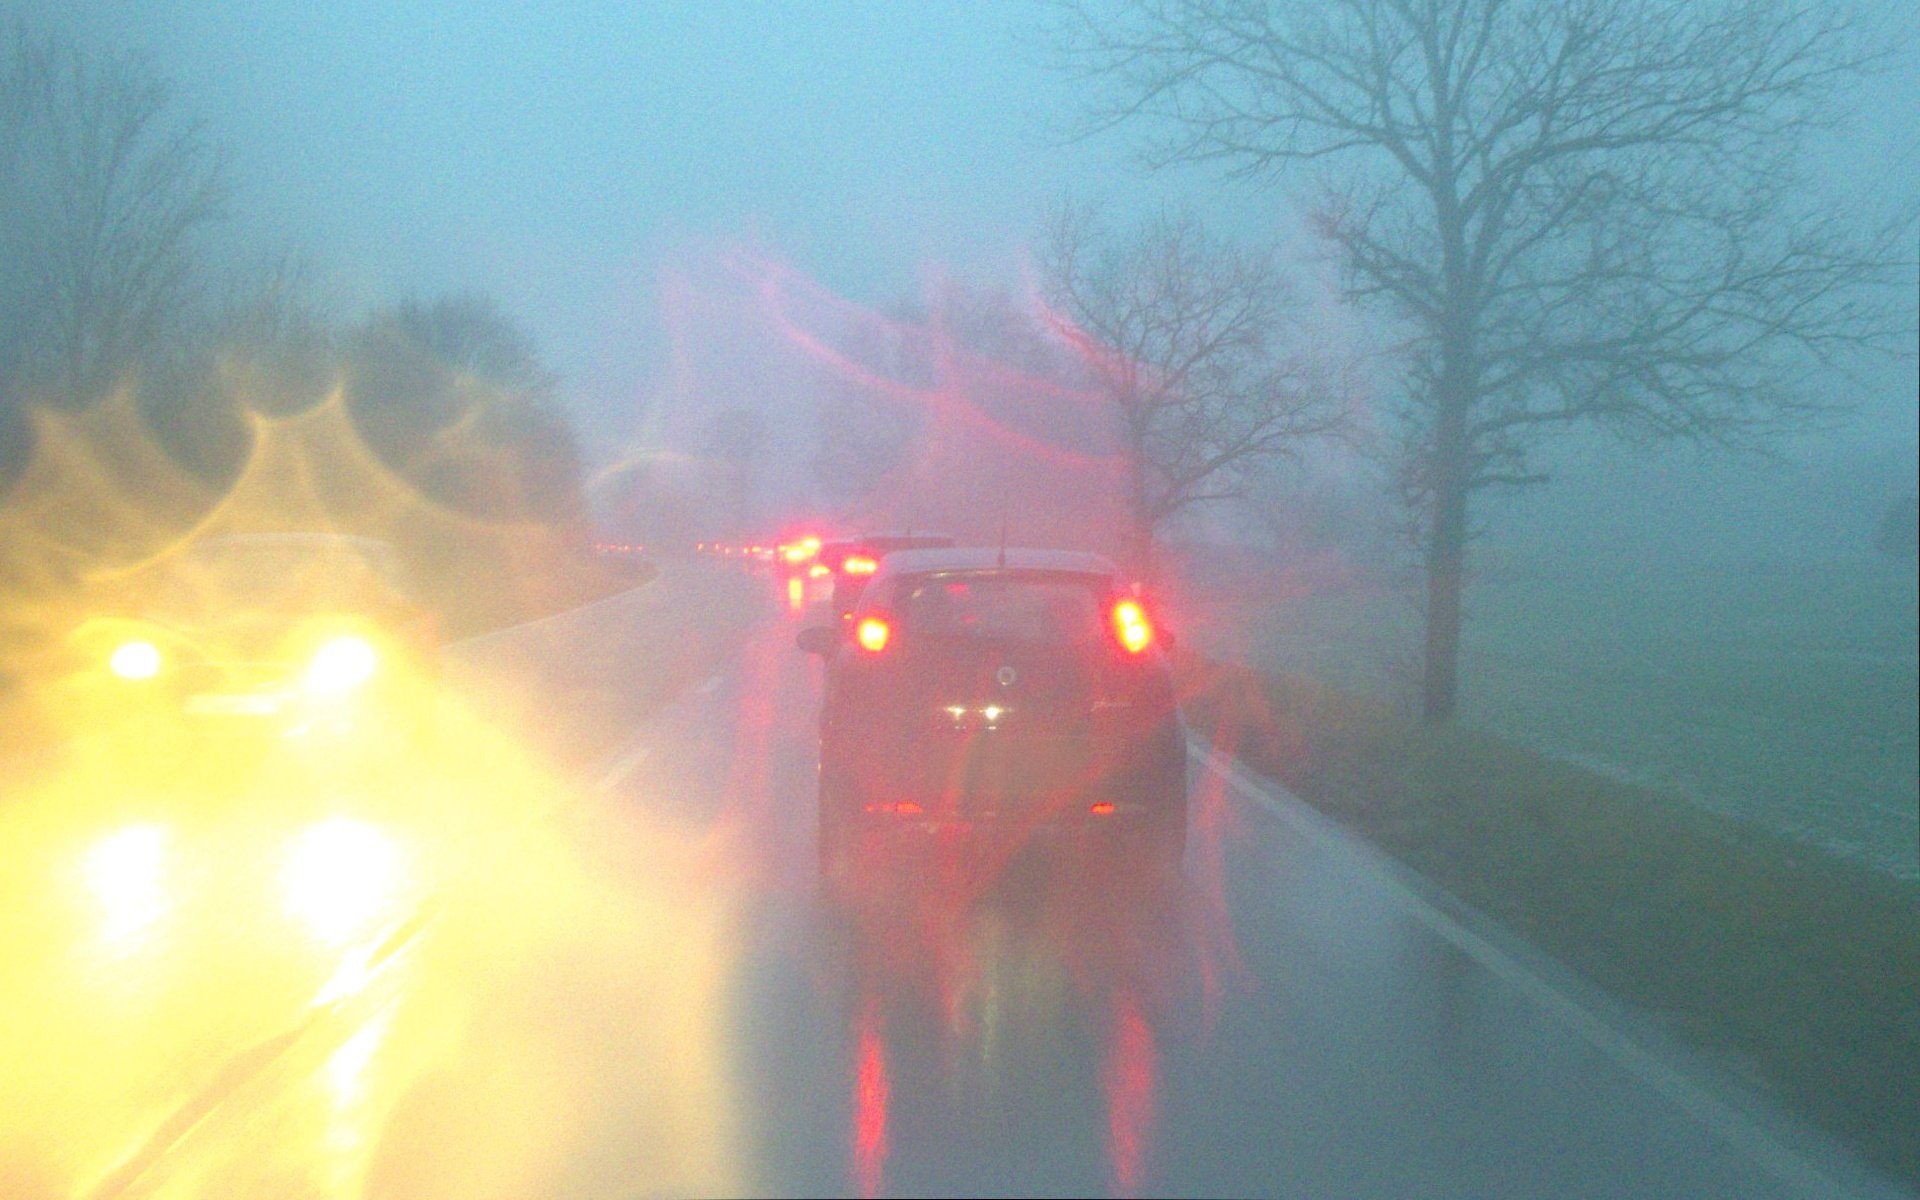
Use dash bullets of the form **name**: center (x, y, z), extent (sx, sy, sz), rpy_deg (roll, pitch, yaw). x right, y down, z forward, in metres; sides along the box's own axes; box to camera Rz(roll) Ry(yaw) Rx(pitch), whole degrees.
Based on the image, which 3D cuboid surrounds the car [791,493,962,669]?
- **car**: center (-0.970, -0.257, 41.861), extent (1.852, 2.007, 4.000), rpy_deg (1, 1, 2)

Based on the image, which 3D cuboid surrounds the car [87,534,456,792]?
- **car**: center (-4.280, 0.335, 21.872), extent (1.655, 1.481, 3.670), rpy_deg (1, 1, -1)

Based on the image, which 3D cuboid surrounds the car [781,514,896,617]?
- **car**: center (-2.075, -0.630, 59.964), extent (1.863, 1.694, 4.468), rpy_deg (1, 1, 0)

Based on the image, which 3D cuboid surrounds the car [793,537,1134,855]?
- **car**: center (0.059, 0.397, 16.900), extent (1.500, 1.393, 3.199), rpy_deg (1, 1, 2)
